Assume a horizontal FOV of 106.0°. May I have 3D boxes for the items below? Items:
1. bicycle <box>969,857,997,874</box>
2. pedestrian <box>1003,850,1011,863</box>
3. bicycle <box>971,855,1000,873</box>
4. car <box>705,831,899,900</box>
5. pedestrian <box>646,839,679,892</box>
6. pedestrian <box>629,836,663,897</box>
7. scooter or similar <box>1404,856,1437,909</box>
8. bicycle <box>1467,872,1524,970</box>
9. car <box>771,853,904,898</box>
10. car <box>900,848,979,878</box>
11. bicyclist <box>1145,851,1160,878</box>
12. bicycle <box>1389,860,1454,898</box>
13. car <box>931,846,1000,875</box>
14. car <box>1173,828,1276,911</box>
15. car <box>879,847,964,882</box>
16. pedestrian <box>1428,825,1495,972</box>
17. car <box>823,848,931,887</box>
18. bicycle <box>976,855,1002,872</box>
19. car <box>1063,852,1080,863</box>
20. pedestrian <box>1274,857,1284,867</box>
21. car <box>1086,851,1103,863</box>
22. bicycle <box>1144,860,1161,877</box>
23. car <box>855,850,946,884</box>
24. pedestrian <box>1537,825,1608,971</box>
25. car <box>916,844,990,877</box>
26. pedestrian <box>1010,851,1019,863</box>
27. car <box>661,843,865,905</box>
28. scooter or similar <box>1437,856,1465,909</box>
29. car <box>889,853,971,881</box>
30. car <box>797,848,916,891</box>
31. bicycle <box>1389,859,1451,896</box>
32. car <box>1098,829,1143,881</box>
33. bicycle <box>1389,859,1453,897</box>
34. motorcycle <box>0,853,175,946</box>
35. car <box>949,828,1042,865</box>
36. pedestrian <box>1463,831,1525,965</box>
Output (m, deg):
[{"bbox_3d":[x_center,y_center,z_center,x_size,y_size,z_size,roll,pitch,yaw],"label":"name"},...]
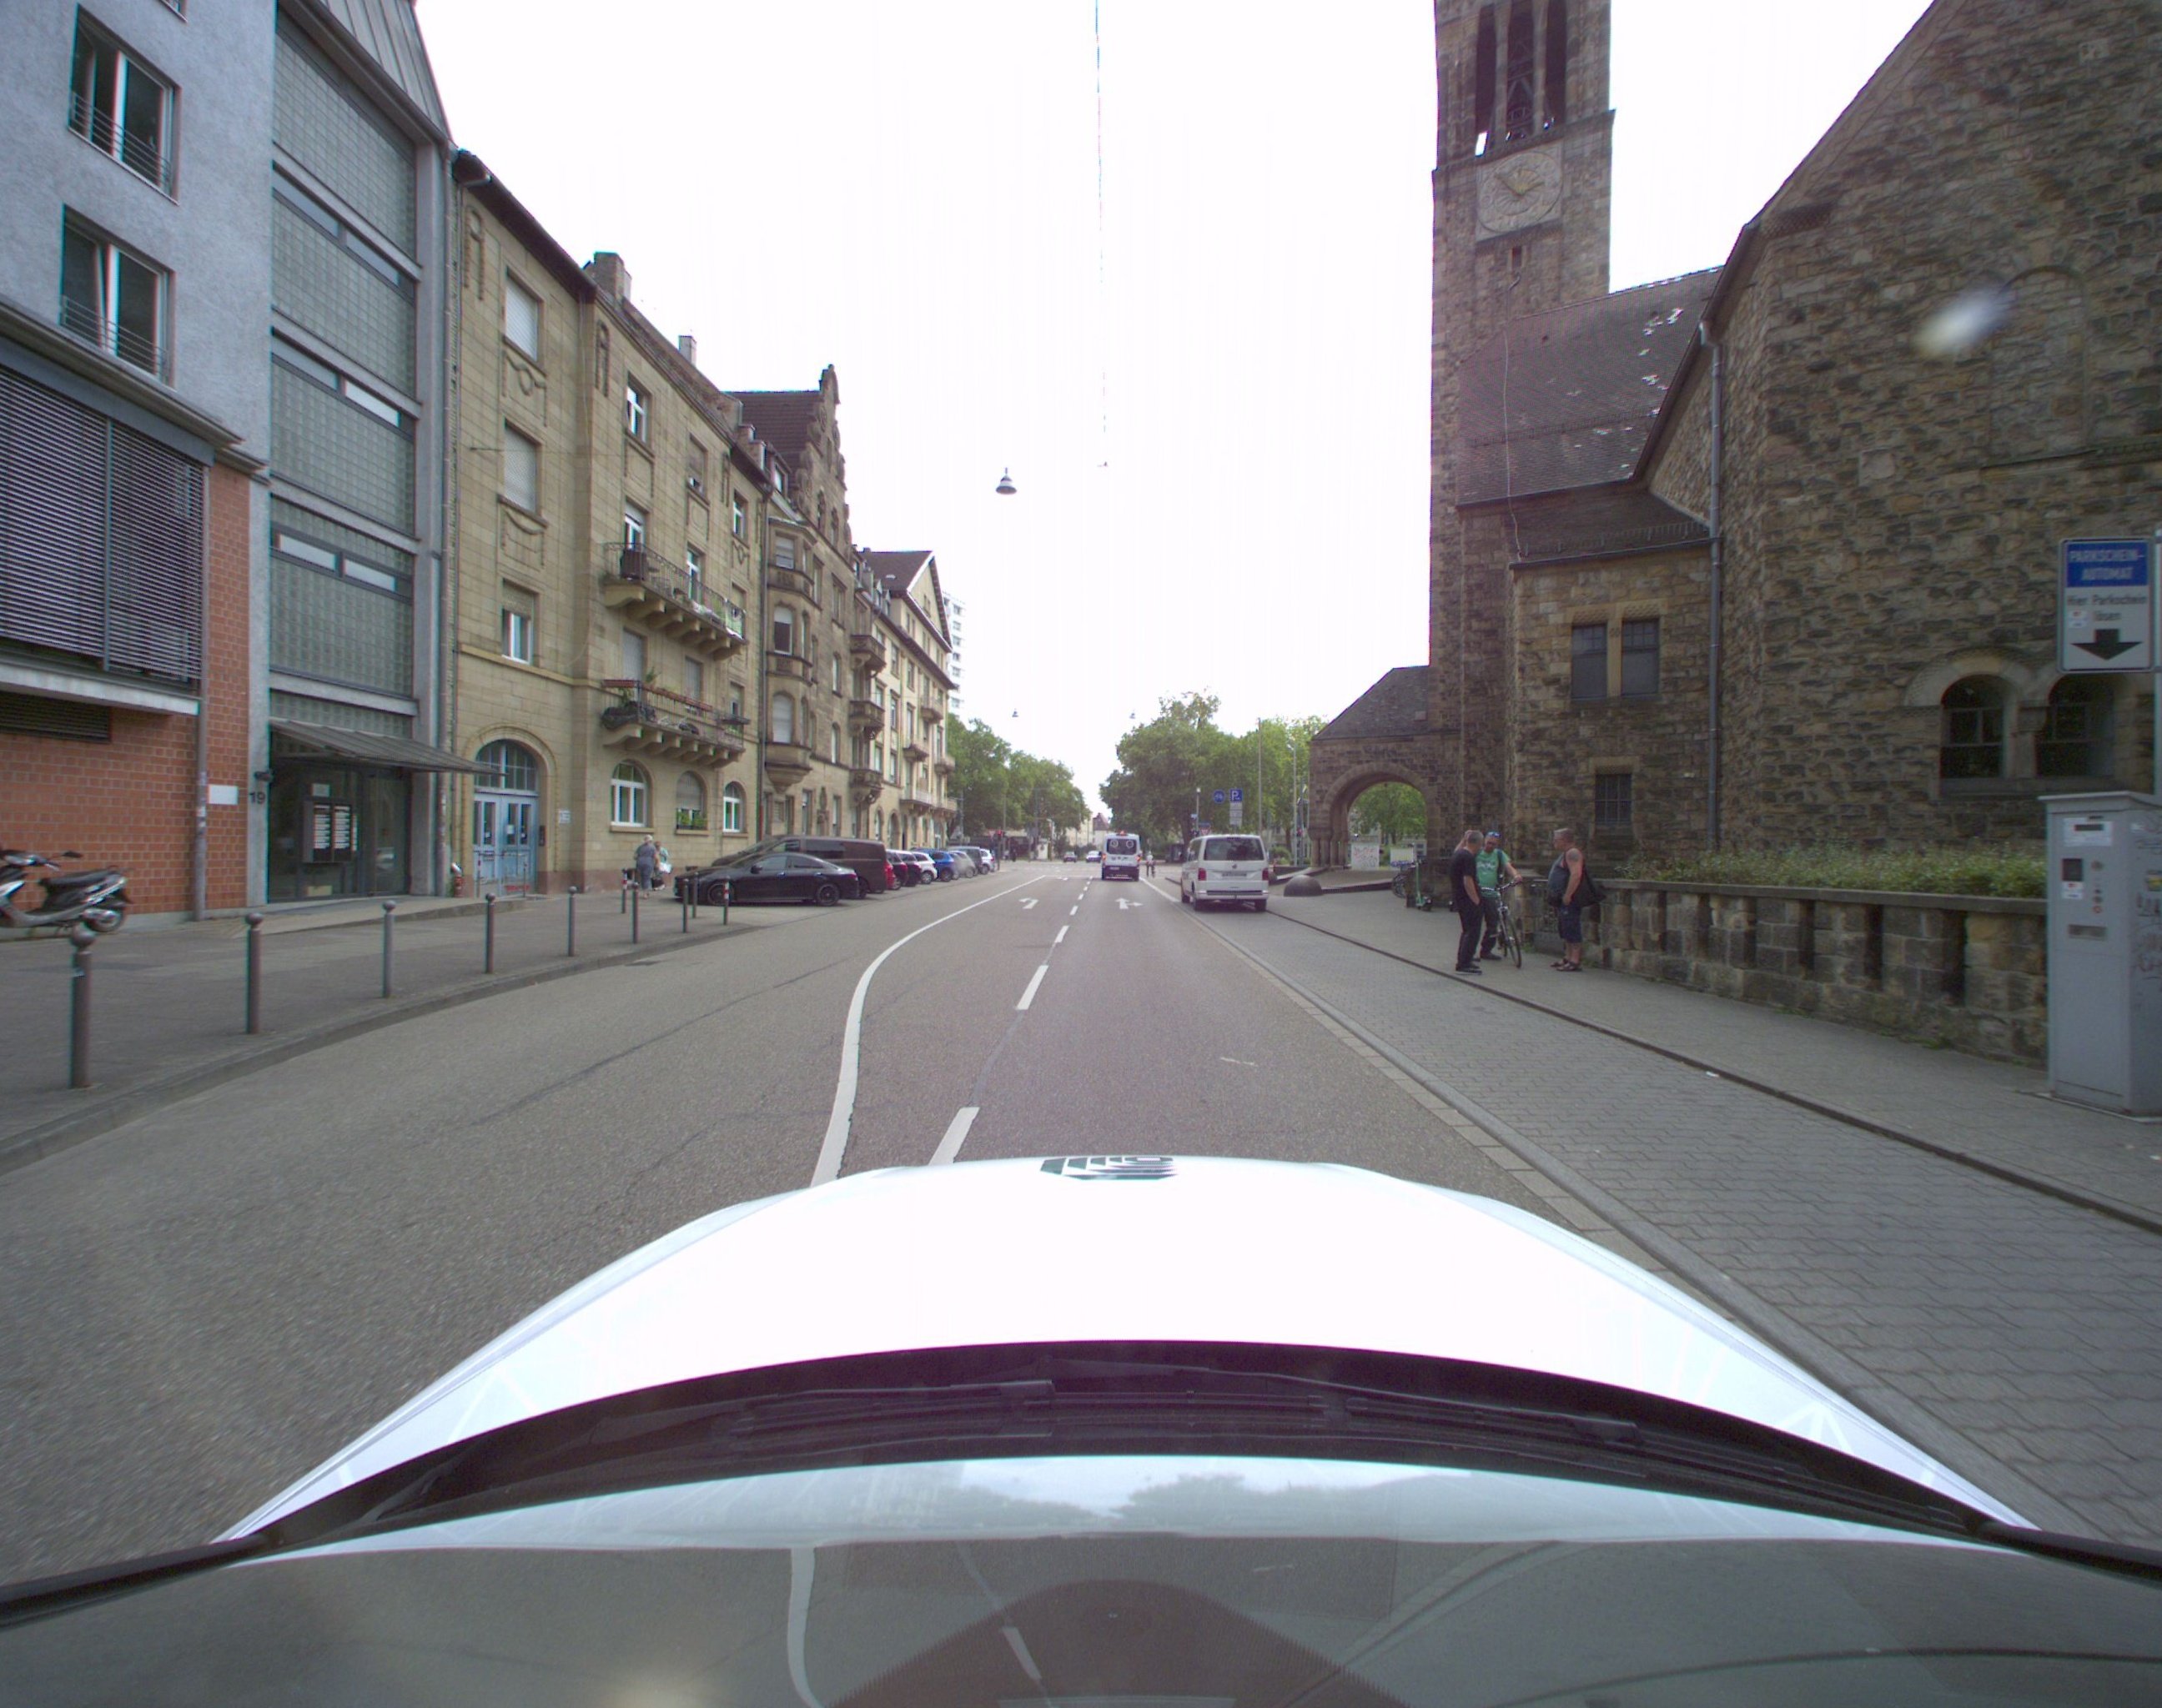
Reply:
[{"bbox_3d":[-6.719,0.791,55.937,1.799,1.120,0.595,0,-1,8],"label":"bicycle"},{"bbox_3d":[-9.341,0.313,102.742,0.801,1.572,0.727,0,0,16],"label":"pedestrian"},{"bbox_3d":[-6.639,0.721,56.607,1.800,1.120,0.595,4,0,5],"label":"bicycle"},{"bbox_3d":[-8.506,0.338,25.040,5.290,1.910,2.100,1,0,-33],"label":"car"},{"bbox_3d":[-12.099,0.330,23.538,0.658,1.485,0.509,1,0,0],"label":"pedestrian"},{"bbox_3d":[-11.111,0.319,20.827,0.651,1.545,0.506,1,0,-17],"label":"pedestrian"},{"bbox_3d":[8.081,0.664,19.445,0.540,1.207,1.448,0,0,15],"label":"scooter or similar"},{"bbox_3d":[5.467,0.830,10.800,0.528,1.150,1.762,0,0,22],"label":"bicycle"},{"bbox_3d":[-8.333,0.707,28.015,4.032,1.409,1.776,1,0,-39],"label":"car"},{"bbox_3d":[-7.991,0.495,46.127,4.030,1.652,1.777,1,0,-37],"label":"car"},{"bbox_3d":[4.535,0.644,51.680,0.901,1.683,0.756,1,0,-2],"label":"bicyclist"},{"bbox_3d":[10.070,0.723,24.144,1.761,1.112,0.549,0,0,20],"label":"bicycle"},{"bbox_3d":[-7.399,0.424,52.401,4.030,1.773,1.777,1,0,-37],"label":"car"},{"bbox_3d":[3.828,0.352,22.655,2.007,2.029,5.124,-1,1,0],"label":"car"},{"bbox_3d":[-7.879,0.493,40.341,3.793,1.652,1.706,1,0,-35],"label":"car"},{"bbox_3d":[4.594,0.517,9.836,0.509,1.720,0.528,1,0,-21],"label":"pedestrian"},{"bbox_3d":[-8.478,0.541,33.954,4.024,1.564,1.779,1,0,-31],"label":"car"},{"bbox_3d":[-6.739,0.708,59.777,1.859,1.167,0.500,2,-1,22],"label":"bicycle"},{"bbox_3d":[-1.278,0.429,109.259,1.611,1.476,4.011,0,0,9],"label":"car"},{"bbox_3d":[26.549,1.055,109.115,1.086,1.236,1.443,-1,-1,6],"label":"pedestrian"},{"bbox_3d":[1.824,0.418,108.317,1.723,1.592,4.011,0,0,9],"label":"car"},{"bbox_3d":[4.524,0.908,51.678,0.900,1.075,1.969,1,0,-1],"label":"bicycle"},{"bbox_3d":[-8.175,0.568,36.974,3.700,1.481,1.723,1,0,-35],"label":"car"},{"bbox_3d":[5.977,0.519,9.914,0.509,1.720,0.528,1,0,-20],"label":"pedestrian"},{"bbox_3d":[-7.700,0.375,49.012,4.030,1.879,1.777,1,0,-37],"label":"car"},{"bbox_3d":[-8.356,0.334,102.515,0.922,1.514,0.727,0,0,16],"label":"pedestrian"},{"bbox_3d":[-8.444,0.572,21.830,4.692,1.409,1.879,4,0,-37],"label":"car"},{"bbox_3d":[8.681,0.646,19.138,0.539,1.207,1.489,0,0,22],"label":"scooter or similar"},{"bbox_3d":[-8.010,0.669,43.324,3.919,1.443,1.818,1,0,-34],"label":"car"},{"bbox_3d":[-8.418,0.557,30.645,4.012,1.503,1.615,1,0,-34],"label":"car"},{"bbox_3d":[10.529,0.725,25.332,1.761,1.112,0.549,0,0,20],"label":"bicycle"},{"bbox_3d":[2.122,0.023,44.762,2.174,2.647,4.628,2,1,0],"label":"car"},{"bbox_3d":[10.313,0.724,24.751,1.754,1.112,0.549,0,0,20],"label":"bicycle"},{"bbox_3d":[-12.729,0.529,10.239,0.581,1.049,1.795,2,0,3],"label":"motorcycle"},{"bbox_3d":[-9.384,-0.833,89.154,9.793,3.915,3.475,0,0,26],"label":"car"},{"bbox_3d":[5.474,0.565,10.801,0.532,1.720,0.505,1,0,-21],"label":"pedestrian"}]
